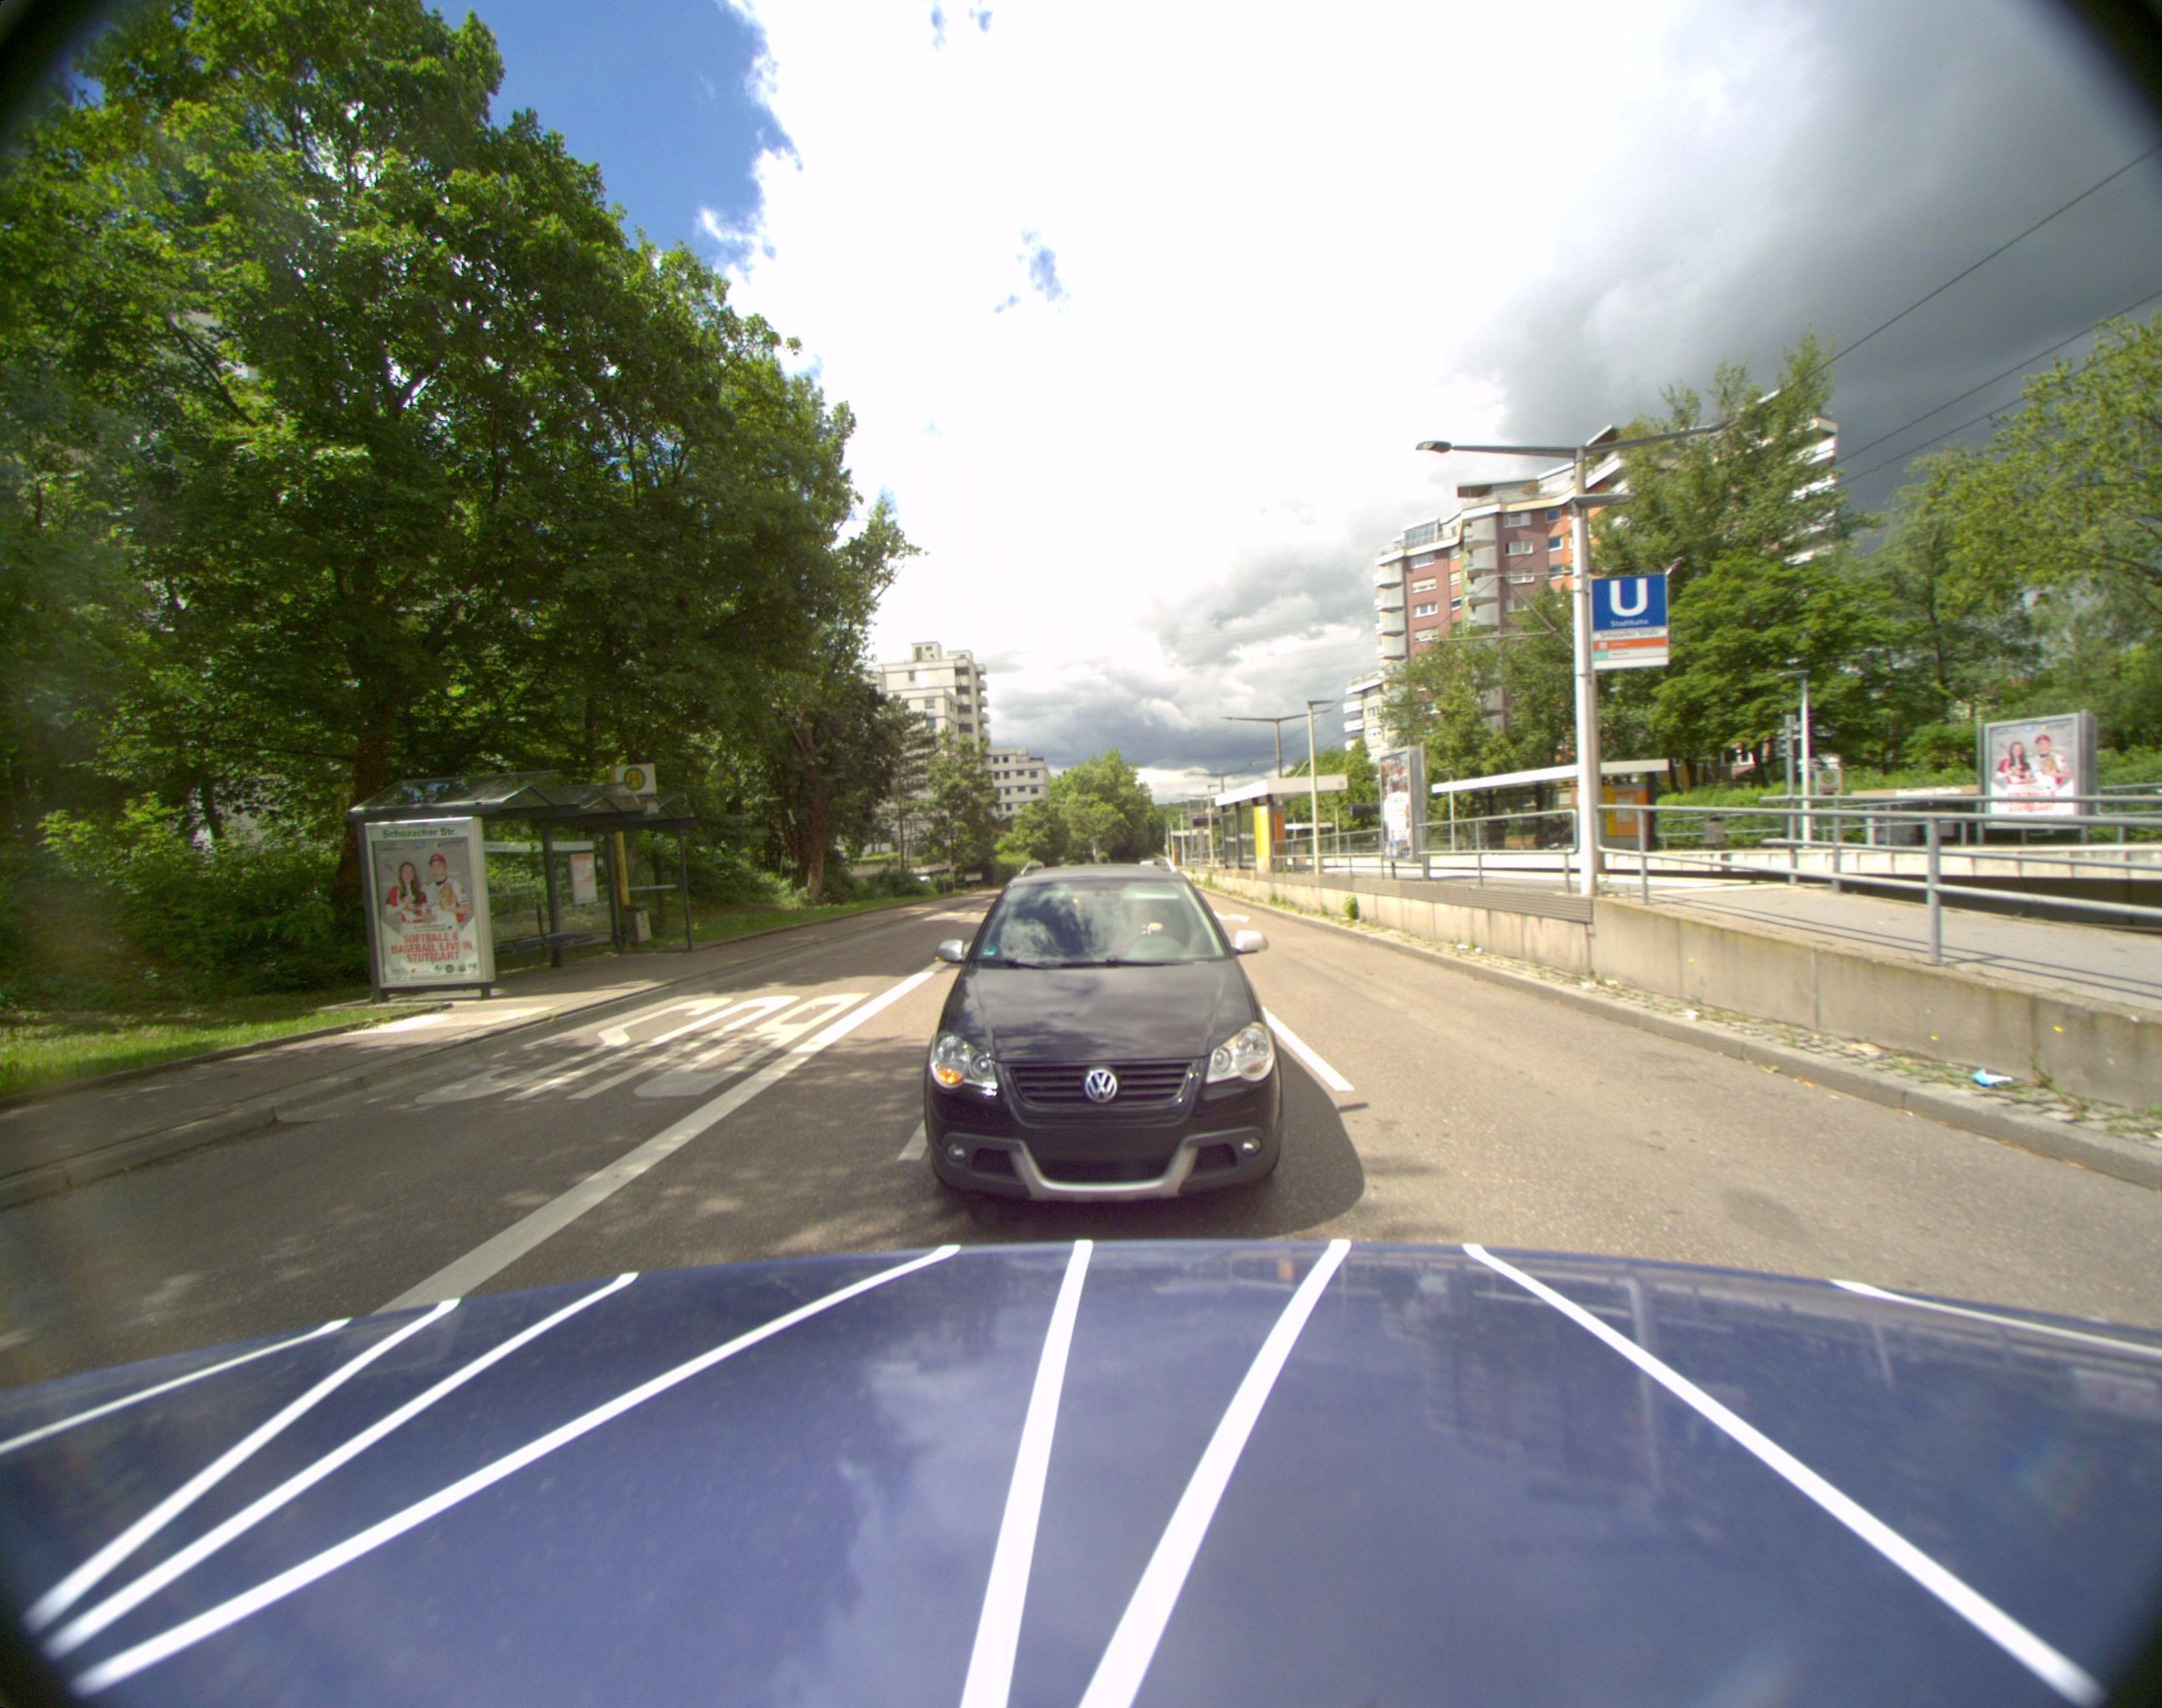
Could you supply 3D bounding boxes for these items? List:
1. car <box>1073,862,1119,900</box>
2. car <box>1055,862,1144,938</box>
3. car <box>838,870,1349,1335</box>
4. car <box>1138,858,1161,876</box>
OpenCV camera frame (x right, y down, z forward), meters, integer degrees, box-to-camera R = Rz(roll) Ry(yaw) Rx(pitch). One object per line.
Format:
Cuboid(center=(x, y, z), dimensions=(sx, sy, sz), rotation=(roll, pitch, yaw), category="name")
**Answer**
Cuboid(center=(0.699, 1.091, 32.486), dimensions=(1.732, 1.452, 4.001), rotation=(-2, 0, 3), category="car")
Cuboid(center=(0.413, 0.959, 17.431), dimensions=(1.732, 1.453, 4.000), rotation=(-2, 0, 1), category="car")
Cuboid(center=(0.080, 0.922, 4.669), dimensions=(1.732, 1.501, 4.000), rotation=(-2, 0, 1), category="car")
Cuboid(center=(6.088, 1.157, 67.944), dimensions=(1.732, 1.453, 4.000), rotation=(-2, 0, 1), category="car")
